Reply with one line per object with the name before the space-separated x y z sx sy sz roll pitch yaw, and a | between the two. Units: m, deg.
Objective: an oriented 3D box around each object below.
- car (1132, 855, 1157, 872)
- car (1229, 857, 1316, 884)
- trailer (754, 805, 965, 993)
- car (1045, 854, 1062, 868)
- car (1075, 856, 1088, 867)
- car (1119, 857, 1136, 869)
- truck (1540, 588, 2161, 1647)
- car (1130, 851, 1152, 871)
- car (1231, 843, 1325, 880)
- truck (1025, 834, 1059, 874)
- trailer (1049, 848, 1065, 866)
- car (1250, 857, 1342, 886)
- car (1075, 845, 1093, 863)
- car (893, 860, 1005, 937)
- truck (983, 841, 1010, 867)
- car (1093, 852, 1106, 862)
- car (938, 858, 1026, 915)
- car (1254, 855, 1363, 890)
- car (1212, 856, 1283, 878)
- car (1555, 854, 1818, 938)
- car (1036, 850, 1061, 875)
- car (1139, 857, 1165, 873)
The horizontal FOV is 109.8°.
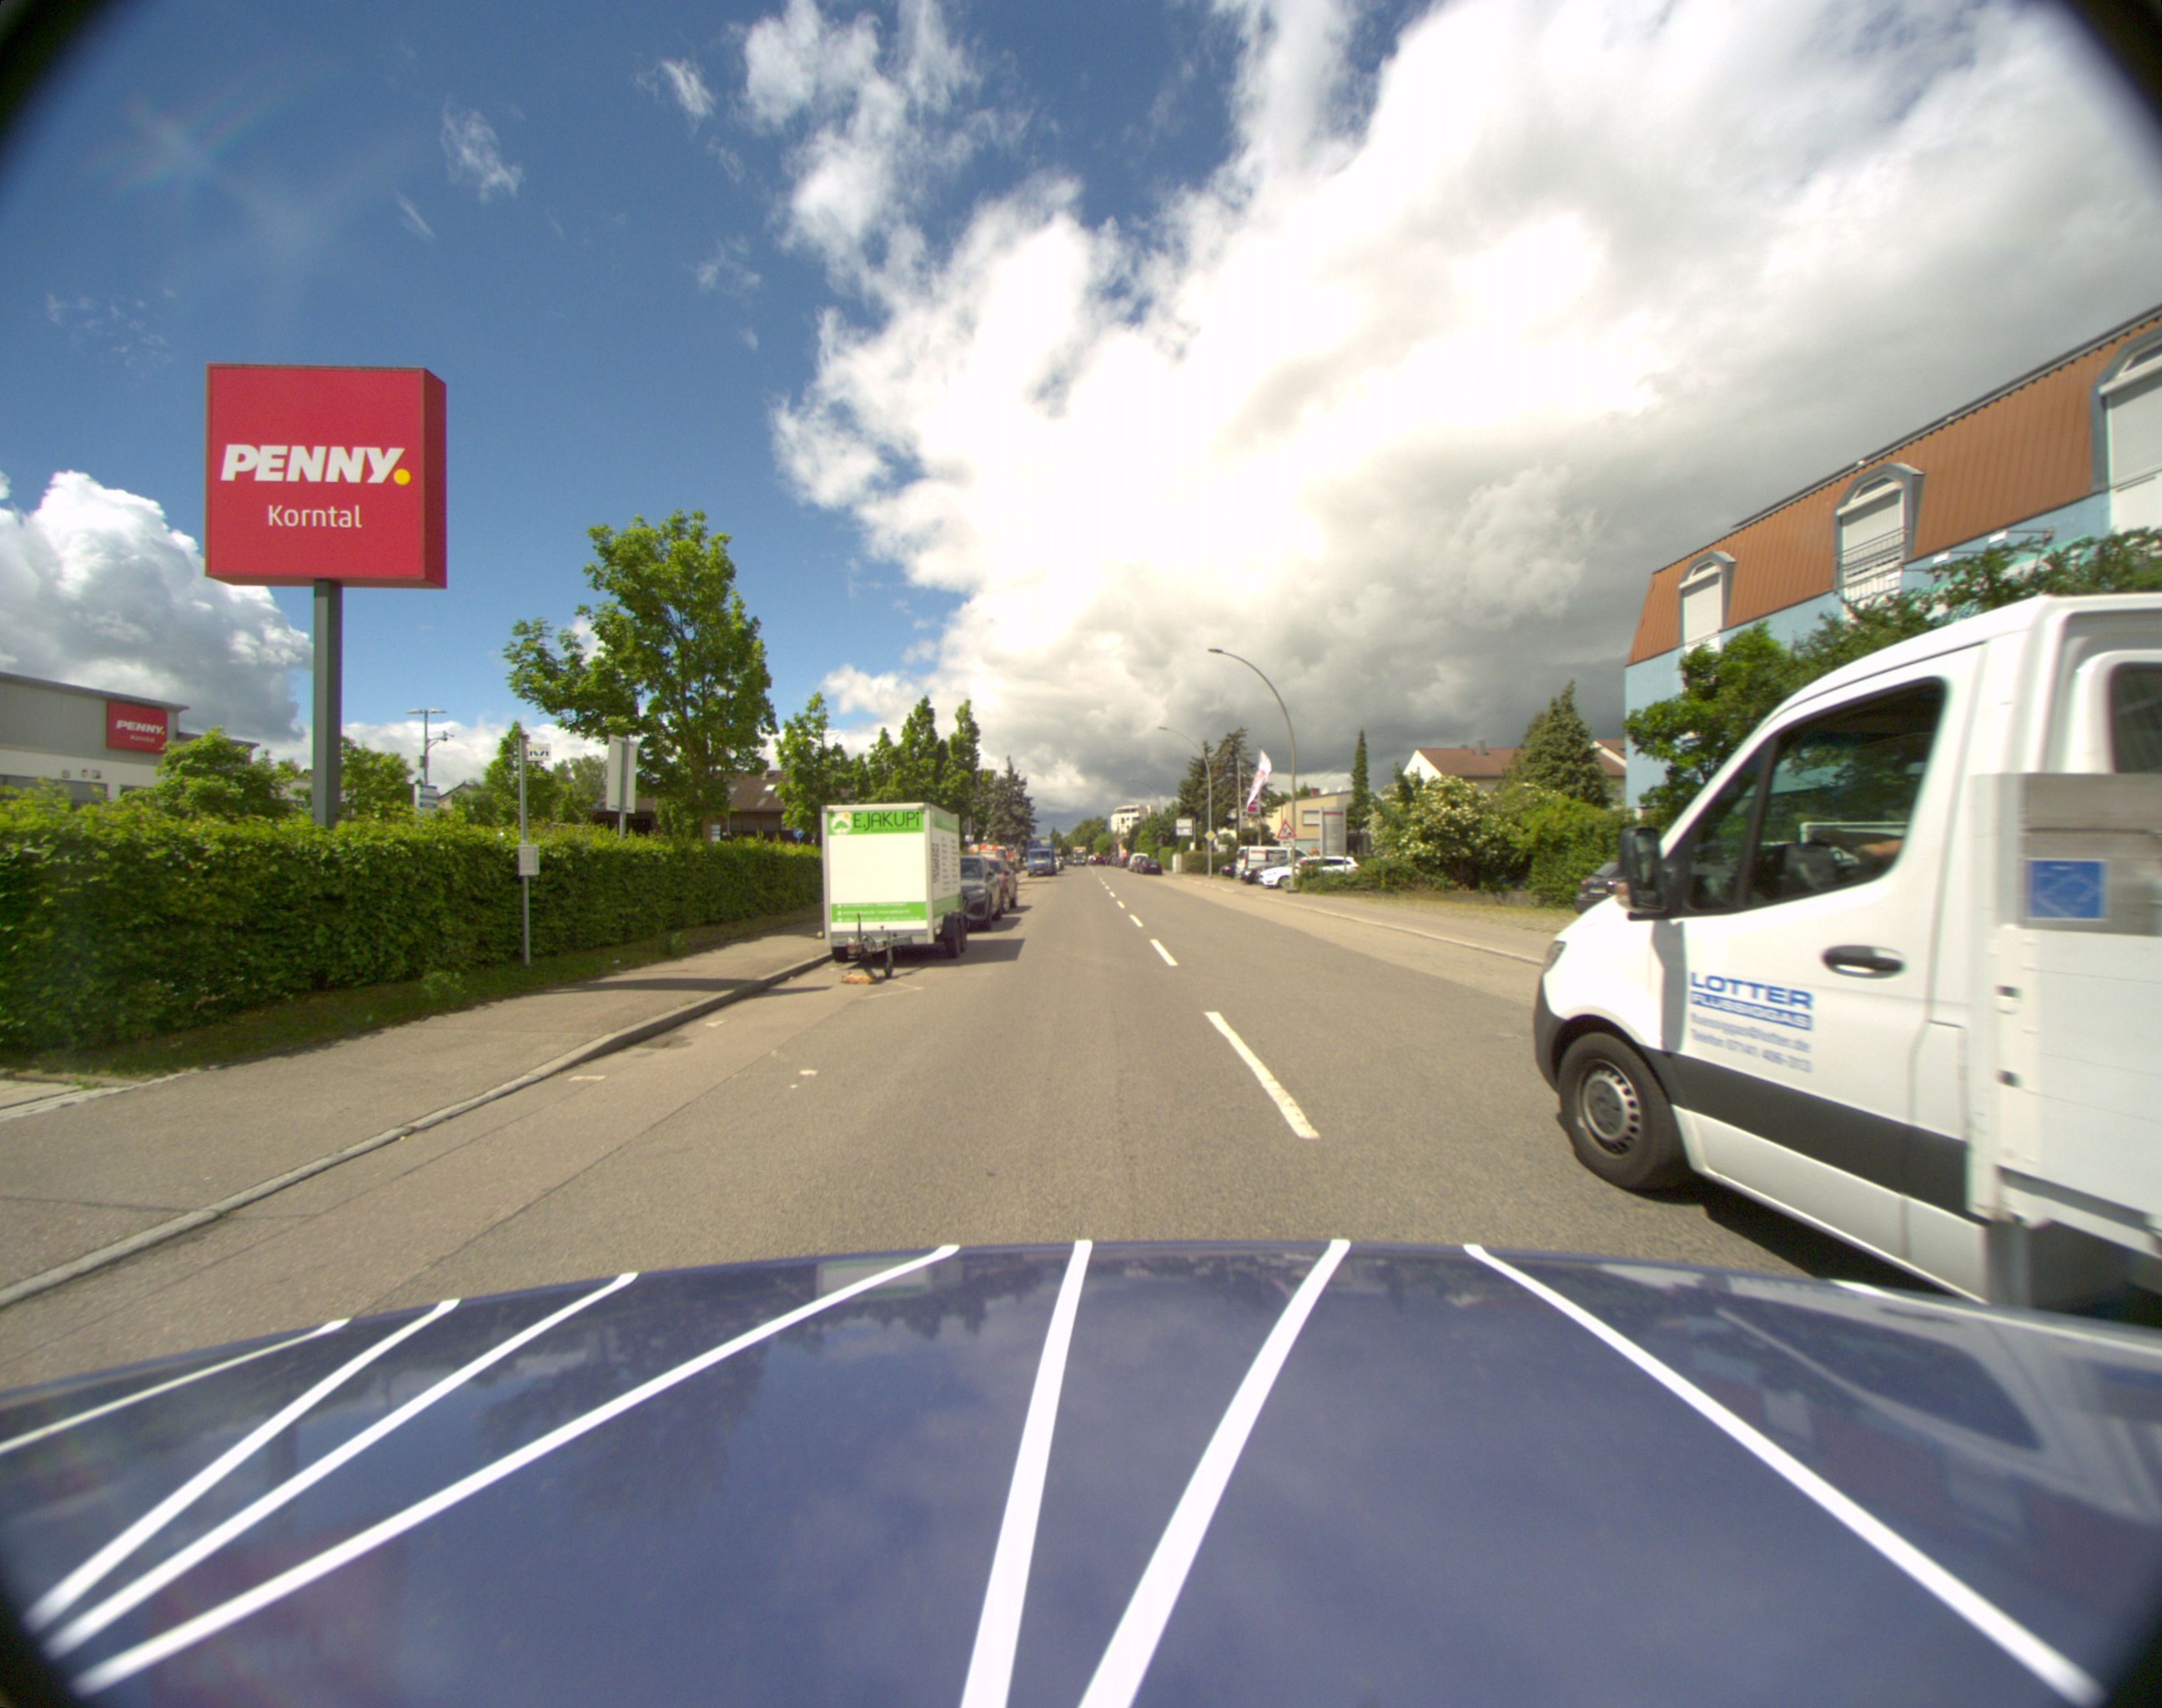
car | 5.822 0.876 70.021 1.748 1.463 4.644 2 -1 -1
car | 9.908 0.838 39.498 3.997 1.307 1.871 -1 1 -1
trailer | -3.032 0.552 11.464 1.947 2.281 4.445 0 0 -1
car | -2.917 0.755 81.355 1.778 1.499 4.000 0 0 0
car | 0.054 1.177 124.928 1.891 1.708 3.999 0 0 -2
car | 5.865 1.200 96.867 1.724 1.484 4.735 0 -1 -2
truck | 3.338 0.536 0.522 2.324 2.165 6.450 0 0 2
car | 5.886 0.703 74.984 1.748 1.827 4.355 2 -1 -1
car | 10.937 0.420 42.369 4.664 1.960 2.115 -1 0 -3
truck | -3.194 0.008 62.813 2.326 3.079 6.042 -3 0 0
trailer | -2.907 0.428 92.731 1.777 2.132 4.114 0 0 0
car | 10.397 0.848 36.959 3.996 1.347 1.872 -1 0 2
car | 0.578 0.035 162.744 3.263 3.595 10.269 -2 -1 -2
car | -2.893 0.913 17.562 1.947 1.562 4.445 0 0 -2
truck | -7.481 0.018 67.881 1.834 2.069 5.386 2 -2 -1
car | 3.032 0.446 126.253 1.999 1.606 4.411 1 0 -1
car | -2.874 0.902 23.019 1.946 1.562 4.446 0 0 2
car | 10.310 0.806 34.649 4.386 1.470 1.871 -1 1 0
car | 10.431 0.823 47.923 3.997 1.197 1.871 -3 0 -1
car | 11.918 0.798 15.175 3.636 1.523 1.980 -1 0 2
car | -2.940 0.750 69.536 1.878 2.156 4.464 -3 0 0
car | 6.057 0.936 64.778 1.635 1.296 4.116 2 -1 -2
